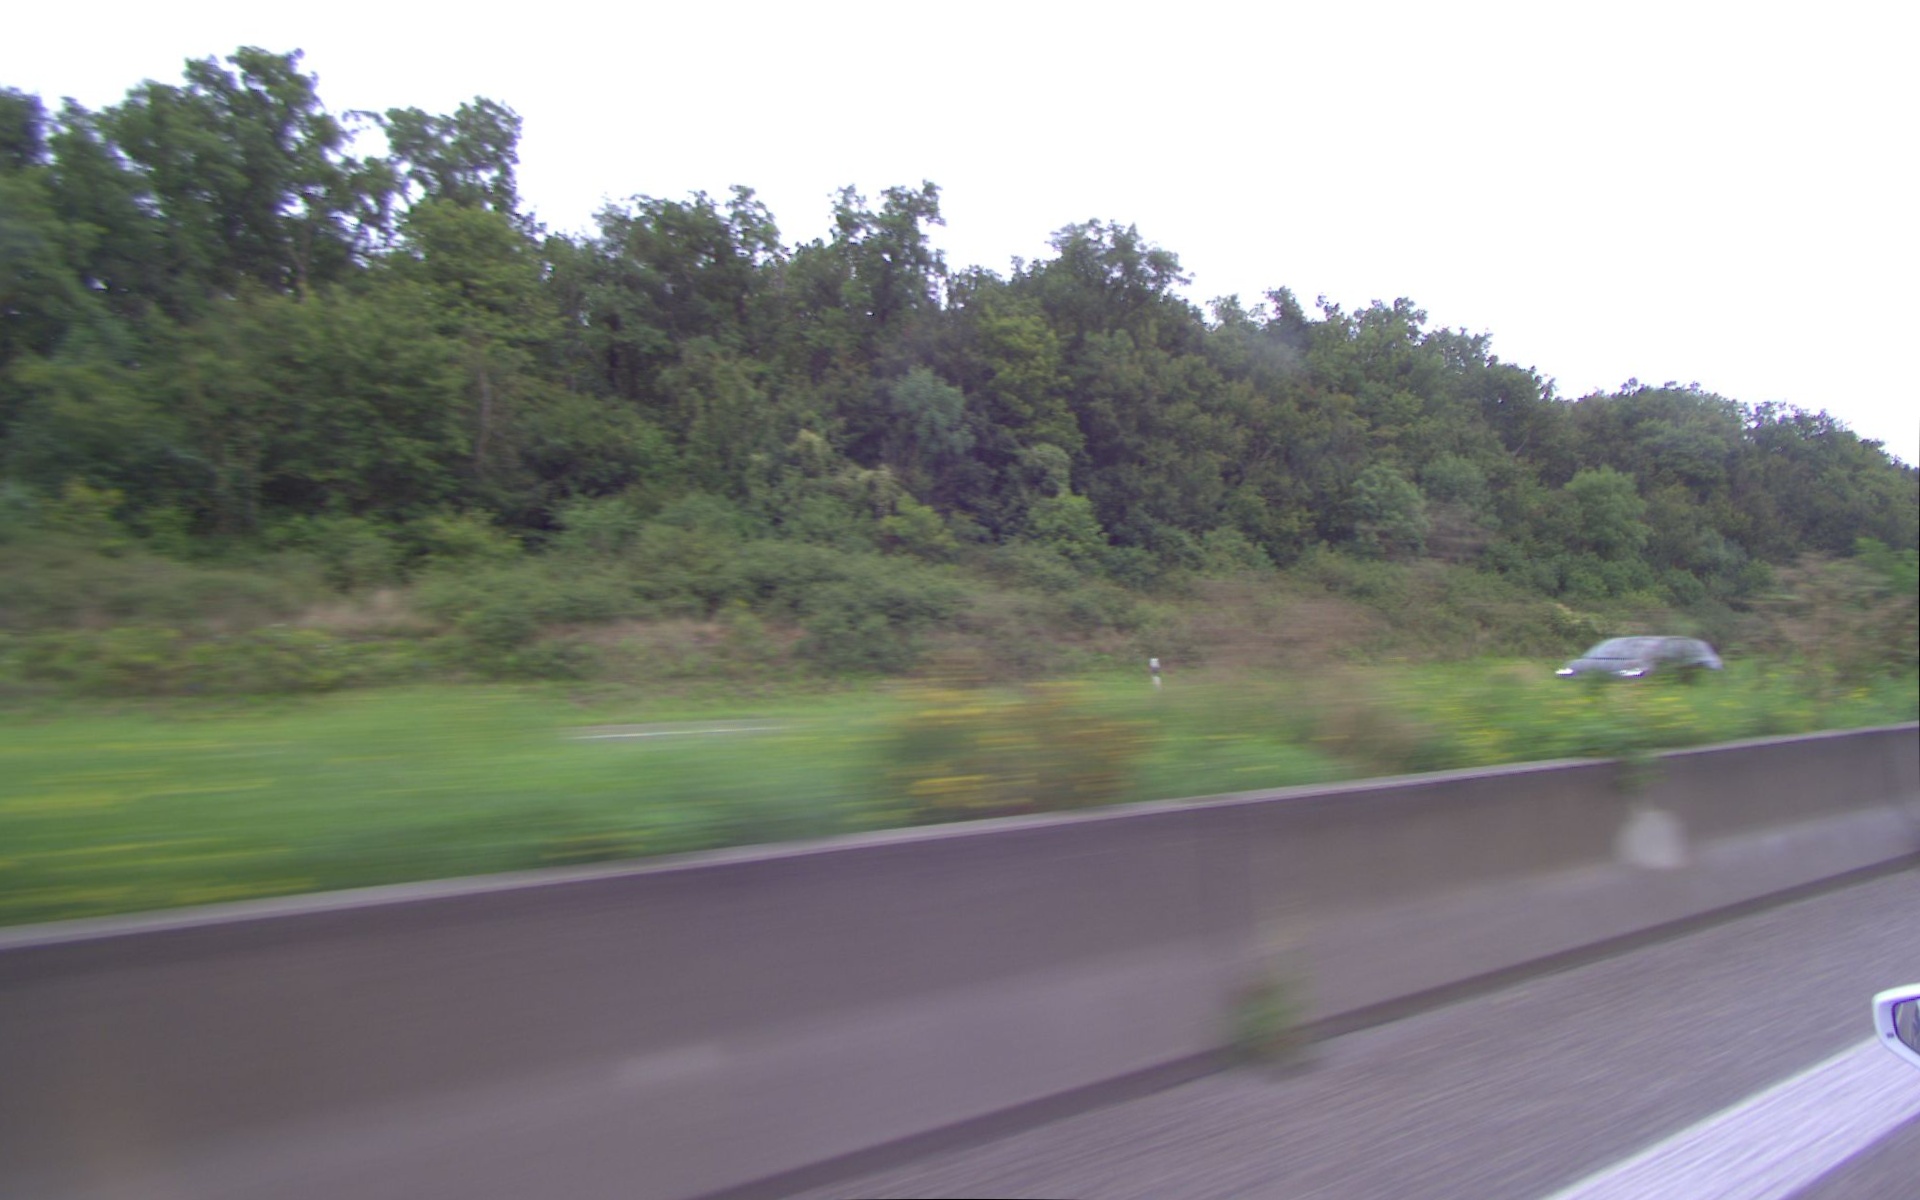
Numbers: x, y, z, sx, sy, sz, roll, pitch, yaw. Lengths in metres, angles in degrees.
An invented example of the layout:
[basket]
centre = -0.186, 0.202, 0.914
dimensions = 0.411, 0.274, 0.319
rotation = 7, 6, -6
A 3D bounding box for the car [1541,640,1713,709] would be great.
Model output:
[car]
centre = 15.764, 1.709, 23.718
dimensions = 3.953, 1.472, 1.866
rotation = 1, -2, -31
